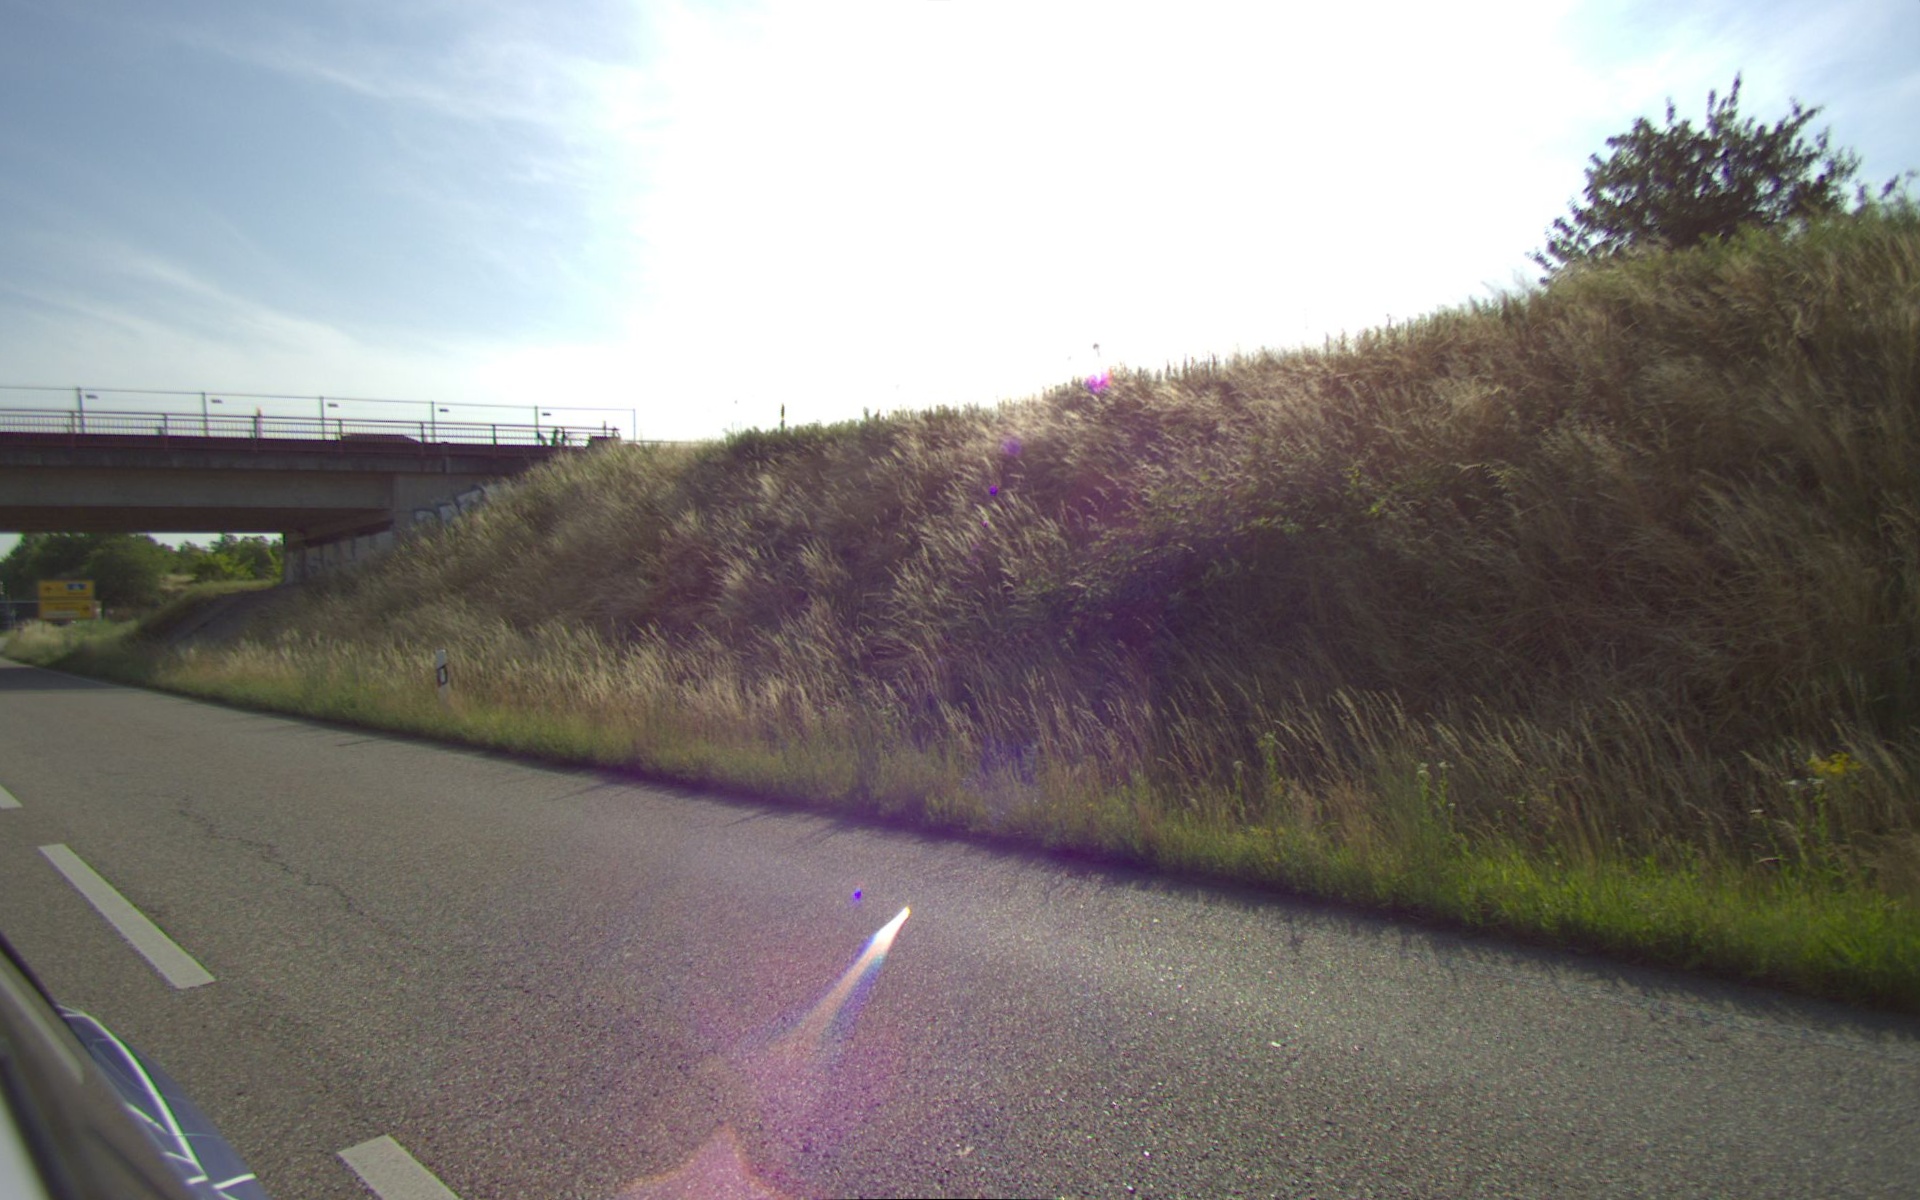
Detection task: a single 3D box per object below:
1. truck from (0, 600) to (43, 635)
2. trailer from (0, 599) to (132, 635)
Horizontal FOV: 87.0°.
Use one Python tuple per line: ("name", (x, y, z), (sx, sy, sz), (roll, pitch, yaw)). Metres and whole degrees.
("truck", (-117.260, 2.214, 122.784), (8.256, 4.144, 3.570), (-1, 0, -28))
("trailer", (-111.840, 2.085, 125.575), (13.562, 4.144, 3.570), (-1, 0, -28))
